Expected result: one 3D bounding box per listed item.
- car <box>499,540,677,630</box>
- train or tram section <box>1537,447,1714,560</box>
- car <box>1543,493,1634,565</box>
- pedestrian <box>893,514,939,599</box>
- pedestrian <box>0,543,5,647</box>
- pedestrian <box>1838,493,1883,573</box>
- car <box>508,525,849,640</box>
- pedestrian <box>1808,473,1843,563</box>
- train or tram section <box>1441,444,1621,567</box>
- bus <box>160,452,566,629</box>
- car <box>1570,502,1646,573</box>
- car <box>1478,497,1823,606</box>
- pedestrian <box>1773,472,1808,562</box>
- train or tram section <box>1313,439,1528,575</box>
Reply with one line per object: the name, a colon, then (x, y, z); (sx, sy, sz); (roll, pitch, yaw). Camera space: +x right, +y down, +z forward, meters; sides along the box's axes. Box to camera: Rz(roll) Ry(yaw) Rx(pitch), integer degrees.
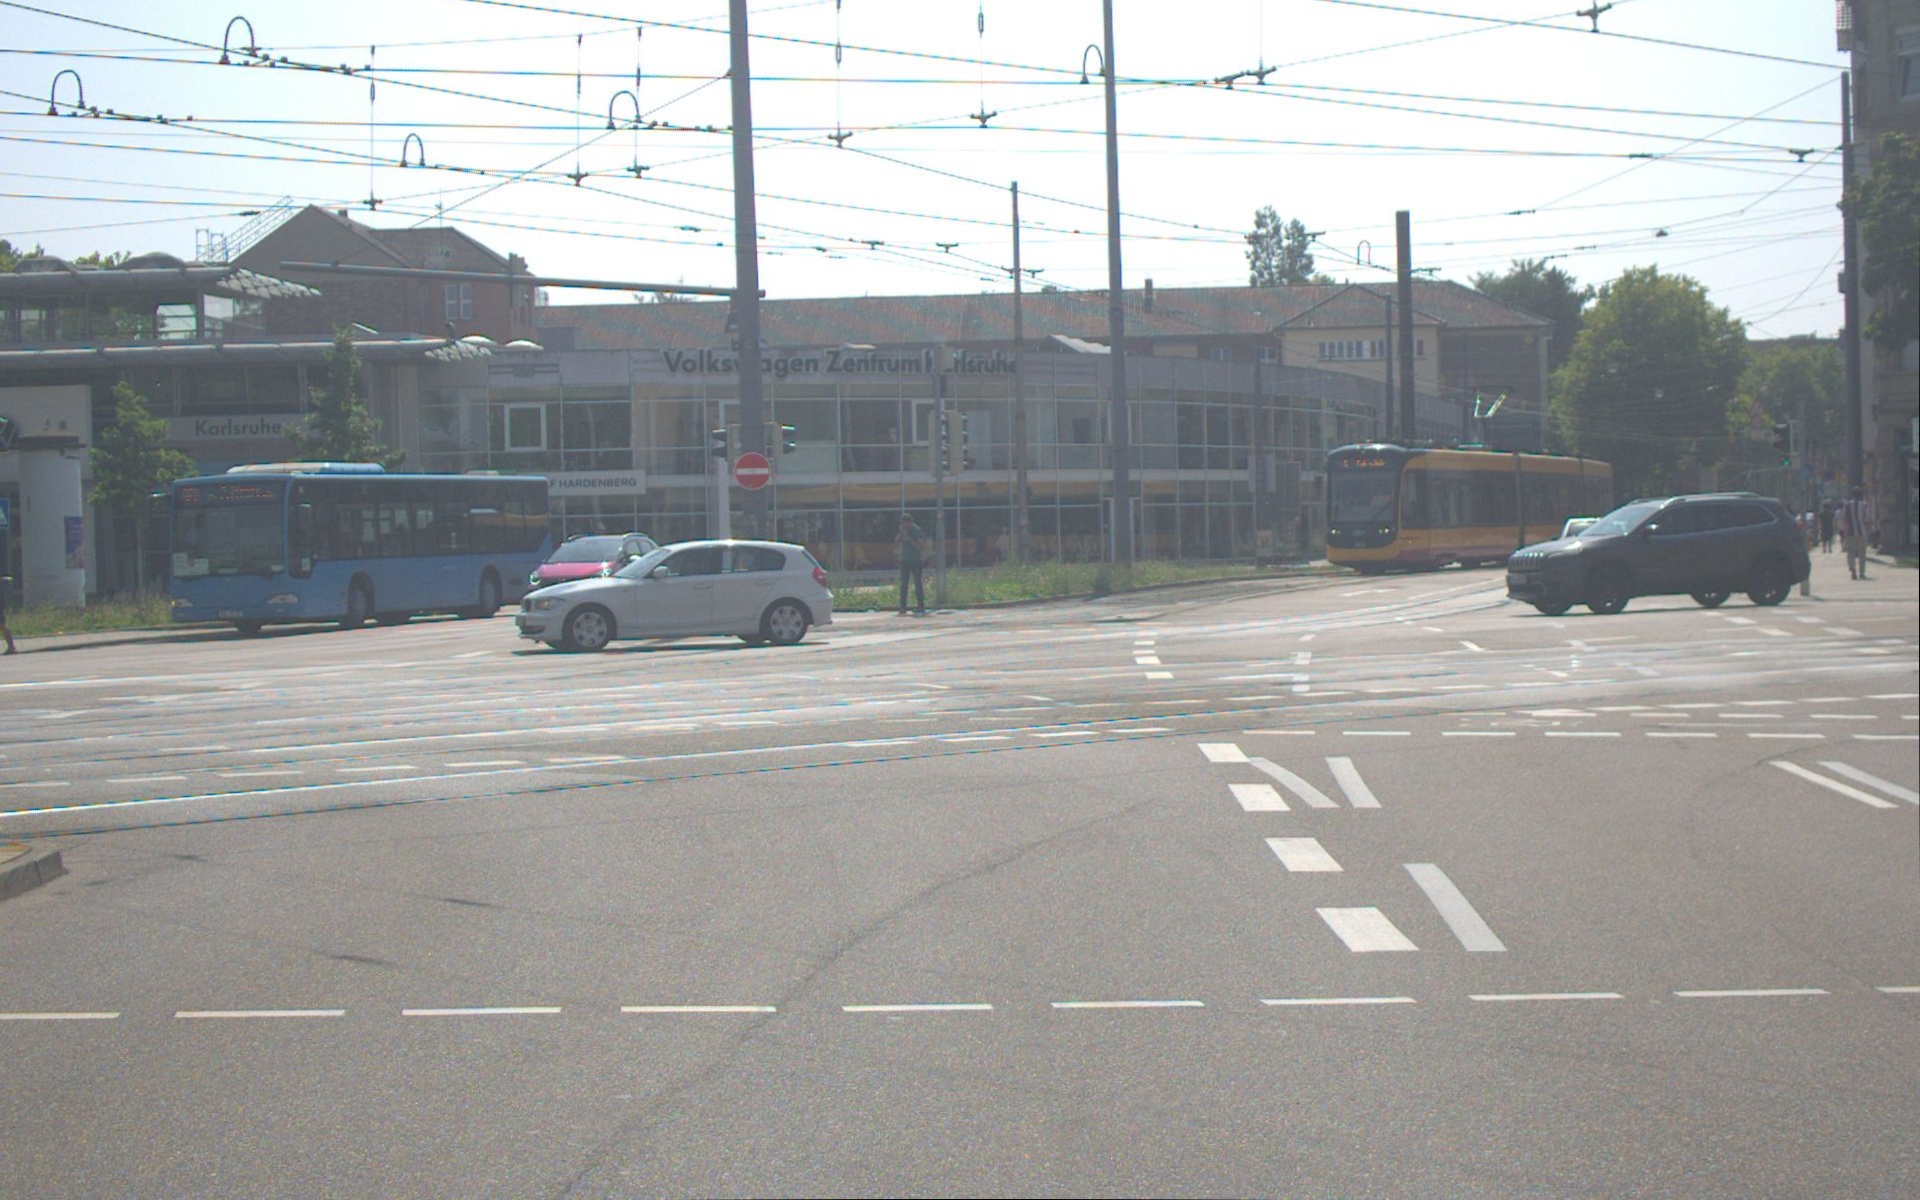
car: (-6.817, -0.298, 63.340); (1.751, 1.546, 3.997); (-1, 1, 18)
train or tram section: (22.155, -3.168, 113.690); (2.592, 3.504, 12.955); (-1, 1, 25)
car: (12.994, -1.467, 70.994); (1.771, 1.411, 4.187); (-1, 1, 11)
pedestrian: (-0.749, -0.744, 58.709); (0.676, 1.438, 0.366); (-1, 1, -17)
pedestrian: (-15.780, -0.079, 55.656); (0.552, 1.678, 0.454); (-1, 1, -18)
pedestrian: (18.176, -1.360, 69.379); (0.699, 1.597, 0.573); (-1, 1, -8)
car: (-3.759, -0.255, 45.781); (4.187, 1.411, 1.776); (-2, 1, -19)
pedestrian: (29.222, -2.781, 116.083); (0.983, 3.007, 0.974); (-1, 1, 6)
train or tram section: (17.296, -2.834, 103.533); (2.592, 3.504, 9.645); (-1, 1, 26)
bus: (-11.248, -1.182, 66.603); (2.564, 3.072, 12.014); (-1, 1, 17)
car: (15.253, -1.474, 80.803); (1.637, 1.612, 3.998); (-1, 1, 12)
car: (10.209, -0.730, 50.857); (4.609, 1.499, 2.001); (-1, 1, -20)
pedestrian: (28.142, -2.803, 116.447); (0.983, 3.007, 0.974); (-1, 1, 6)
train or tram section: (12.775, -2.546, 94.356); (2.592, 3.504, 10.884); (-1, 1, 26)
